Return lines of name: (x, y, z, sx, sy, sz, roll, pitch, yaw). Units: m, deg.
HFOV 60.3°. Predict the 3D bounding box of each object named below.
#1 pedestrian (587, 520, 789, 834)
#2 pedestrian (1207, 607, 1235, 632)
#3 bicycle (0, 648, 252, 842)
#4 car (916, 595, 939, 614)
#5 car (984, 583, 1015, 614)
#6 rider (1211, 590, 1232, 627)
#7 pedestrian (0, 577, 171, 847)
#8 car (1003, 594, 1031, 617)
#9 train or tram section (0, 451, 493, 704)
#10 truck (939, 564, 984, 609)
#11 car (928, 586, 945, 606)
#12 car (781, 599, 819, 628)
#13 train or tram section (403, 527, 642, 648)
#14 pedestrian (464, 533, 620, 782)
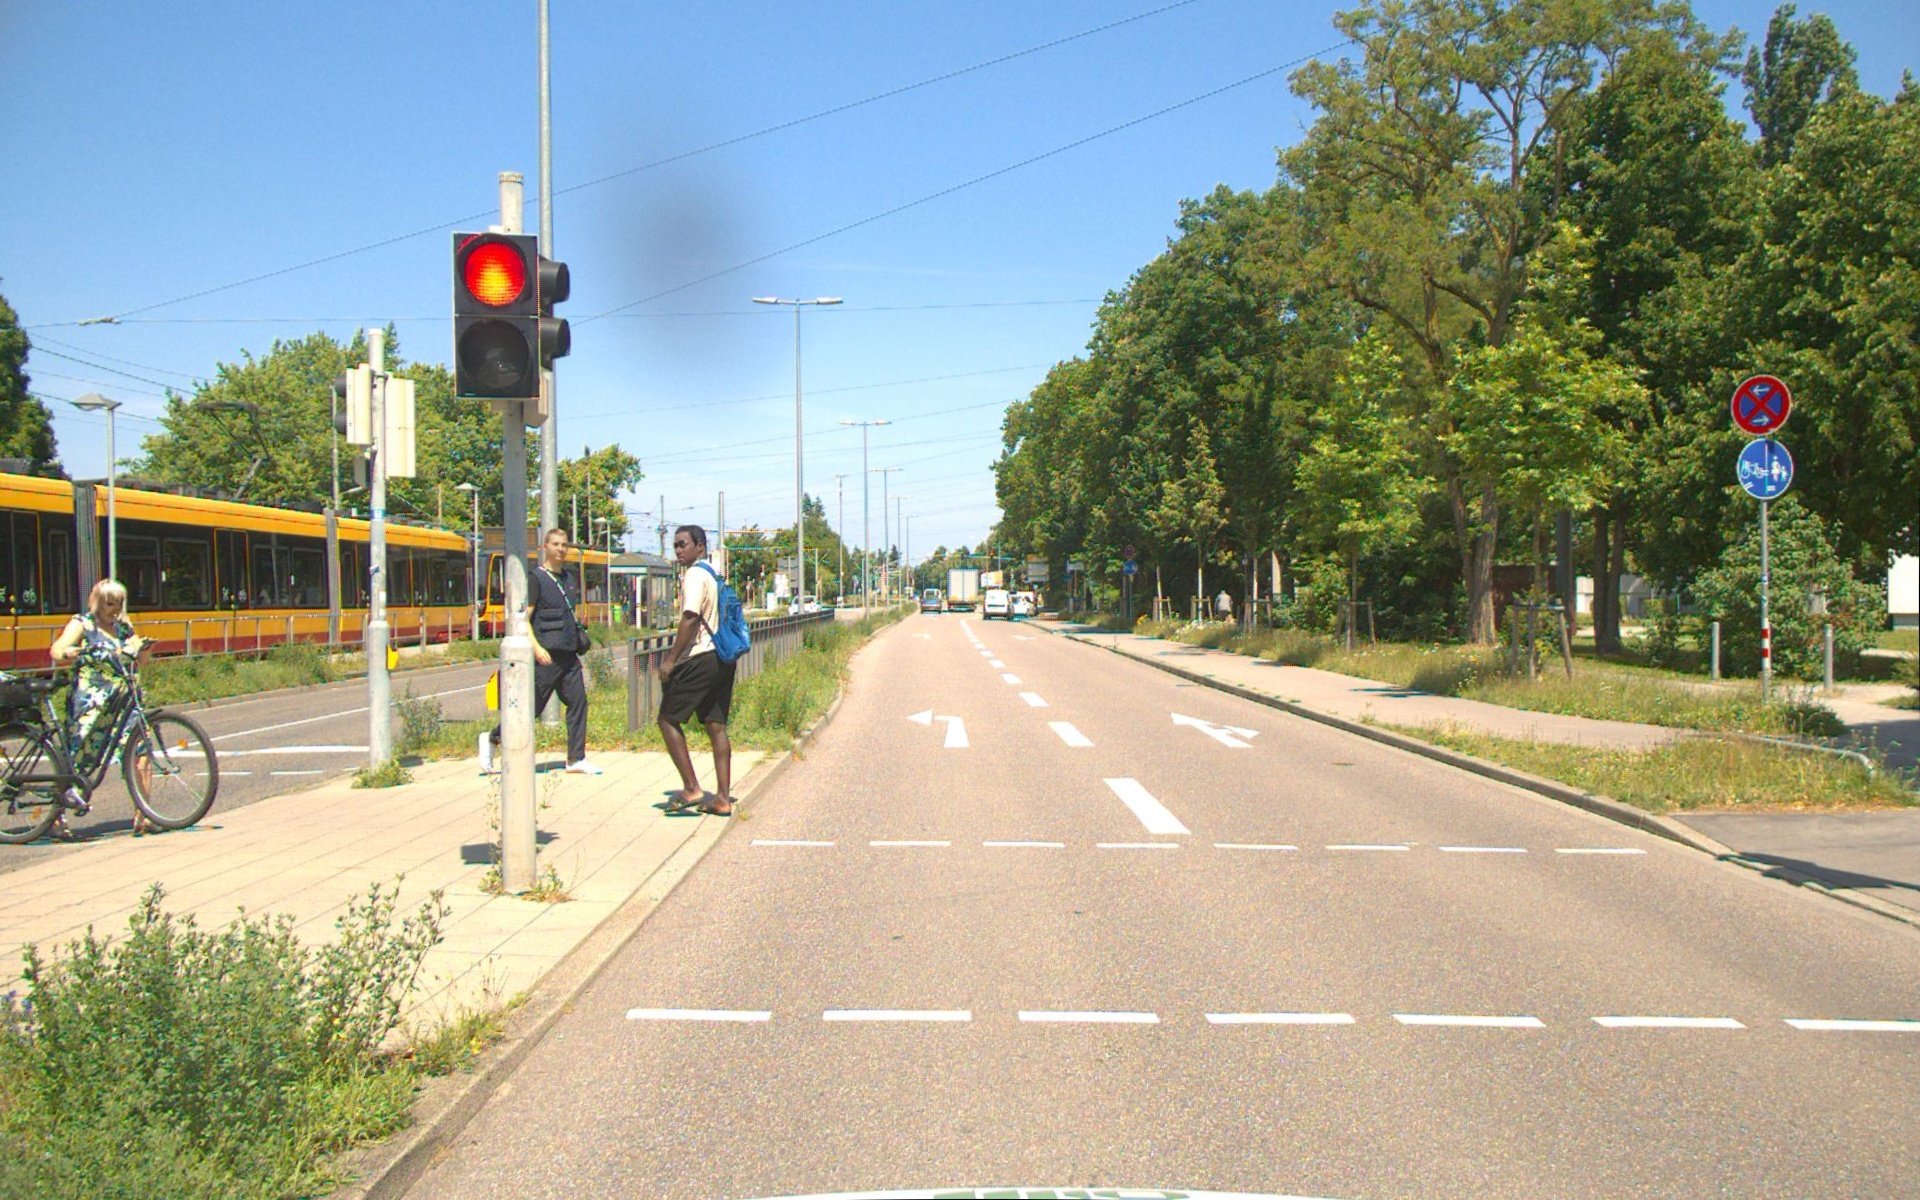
pedestrian: (-1.698, 0.460, 10.415, 1.024, 1.882, 0.758, 0, 0, 14)
pedestrian: (9.241, 0.688, 58.633, 0.664, 0.862, 1.773, 0, 0, -1)
bicycle: (-5.364, 0.895, 10.327, 1.824, 1.177, 0.243, 0, 0, 5)
car: (-2.602, 0.359, 133.706, 1.765, 1.512, 4.000, 0, 0, 0)
car: (2.448, -0.112, 102.355, 1.691, 1.845, 4.002, 1, 0, 4)
rider: (9.250, 0.307, 58.590, 0.664, 1.304, 0.533, 0, 0, -1)
pedestrian: (-5.594, 0.684, 10.505, 0.802, 1.657, 0.706, 0, 0, 5)
car: (3.864, 0.347, 112.579, 1.766, 1.567, 4.000, 0, 0, 0)
train or tram section: (-15.632, -0.350, 32.504, 2.731, 3.732, 37.511, 0, 0, -1)
truck: (0.083, -1.189, 147.911, 3.820, 3.879, 10.790, 0, 0, -1)
car: (-2.345, -0.414, 164.466, 1.653, 1.930, 3.869, 0, 0, -1)
car: (-9.527, 0.784, 98.740, 1.953, 1.679, 3.999, 0, 0, -1)
train or tram section: (-16.046, -0.417, 64.242, 2.731, 3.732, 25.994, 0, 0, -1)
pedestrian: (-3.195, 0.421, 12.660, 0.939, 1.828, 0.704, 0, 0, 28)
